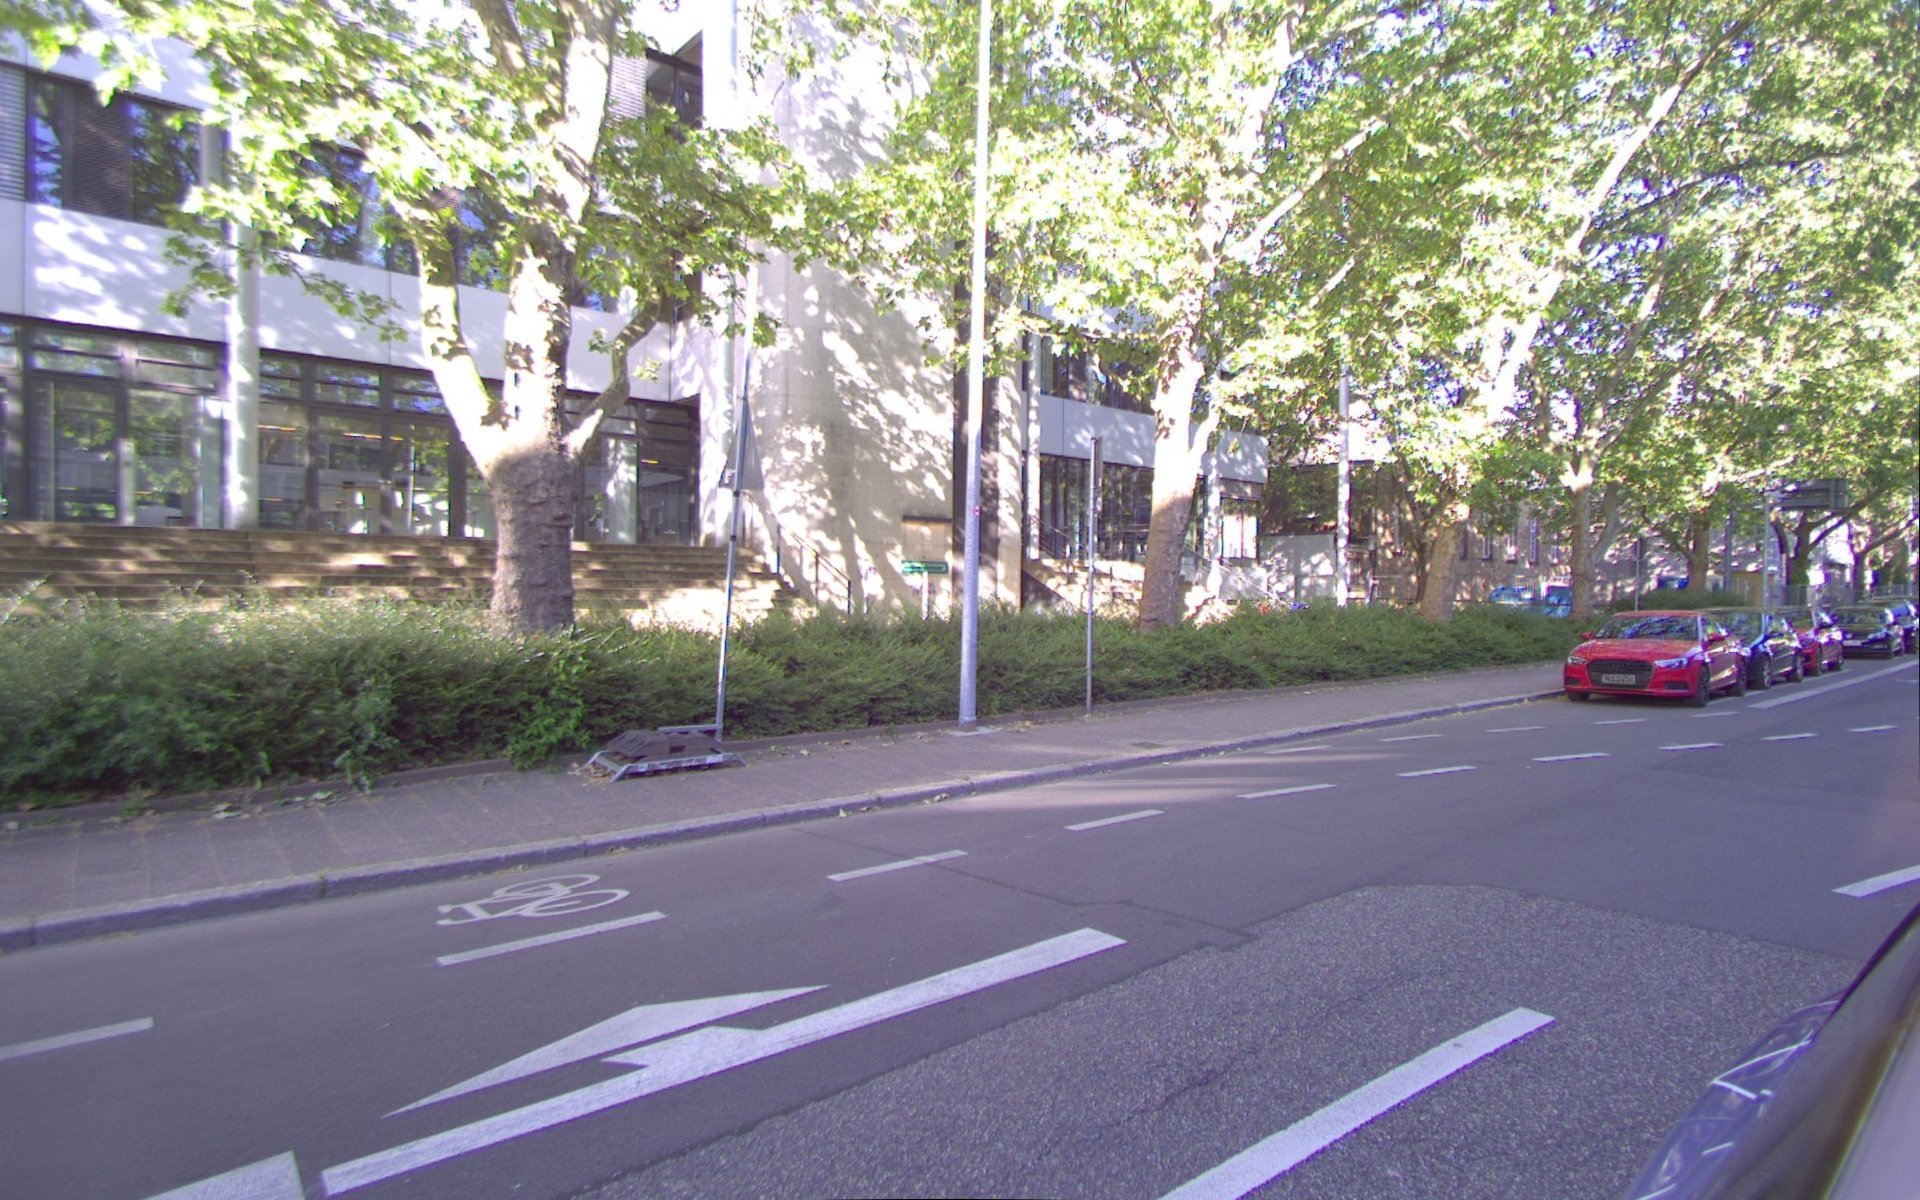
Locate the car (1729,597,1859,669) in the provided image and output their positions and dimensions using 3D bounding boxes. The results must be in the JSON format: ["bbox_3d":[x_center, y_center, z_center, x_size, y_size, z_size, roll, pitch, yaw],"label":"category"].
[{"bbox_3d":[18.620,0.674,22.539,3.715,1.452,1.664,0,1,-41],"label":"car"}]

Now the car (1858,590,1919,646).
[{"bbox_3d":[29.523,0.522,31.653,3.770,1.640,1.684,0,1,-41],"label":"car"}]

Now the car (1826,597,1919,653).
[{"bbox_3d":[26.022,0.654,28.699,3.930,1.469,1.684,0,1,-41],"label":"car"}]

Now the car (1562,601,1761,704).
[{"bbox_3d":[11.245,0.754,16.127,3.962,1.439,1.722,0,-2,-42],"label":"car"}]

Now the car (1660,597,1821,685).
[{"bbox_3d":[14.819,0.703,19.144,3.930,1.485,1.684,0,0,-41],"label":"car"}]

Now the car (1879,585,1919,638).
[{"bbox_3d":[33.978,0.389,35.709,4.354,1.790,1.818,0,1,-41],"label":"car"}]

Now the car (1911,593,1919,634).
[{"bbox_3d":[38.715,0.509,39.726,3.801,1.581,1.684,0,1,-41],"label":"car"}]
